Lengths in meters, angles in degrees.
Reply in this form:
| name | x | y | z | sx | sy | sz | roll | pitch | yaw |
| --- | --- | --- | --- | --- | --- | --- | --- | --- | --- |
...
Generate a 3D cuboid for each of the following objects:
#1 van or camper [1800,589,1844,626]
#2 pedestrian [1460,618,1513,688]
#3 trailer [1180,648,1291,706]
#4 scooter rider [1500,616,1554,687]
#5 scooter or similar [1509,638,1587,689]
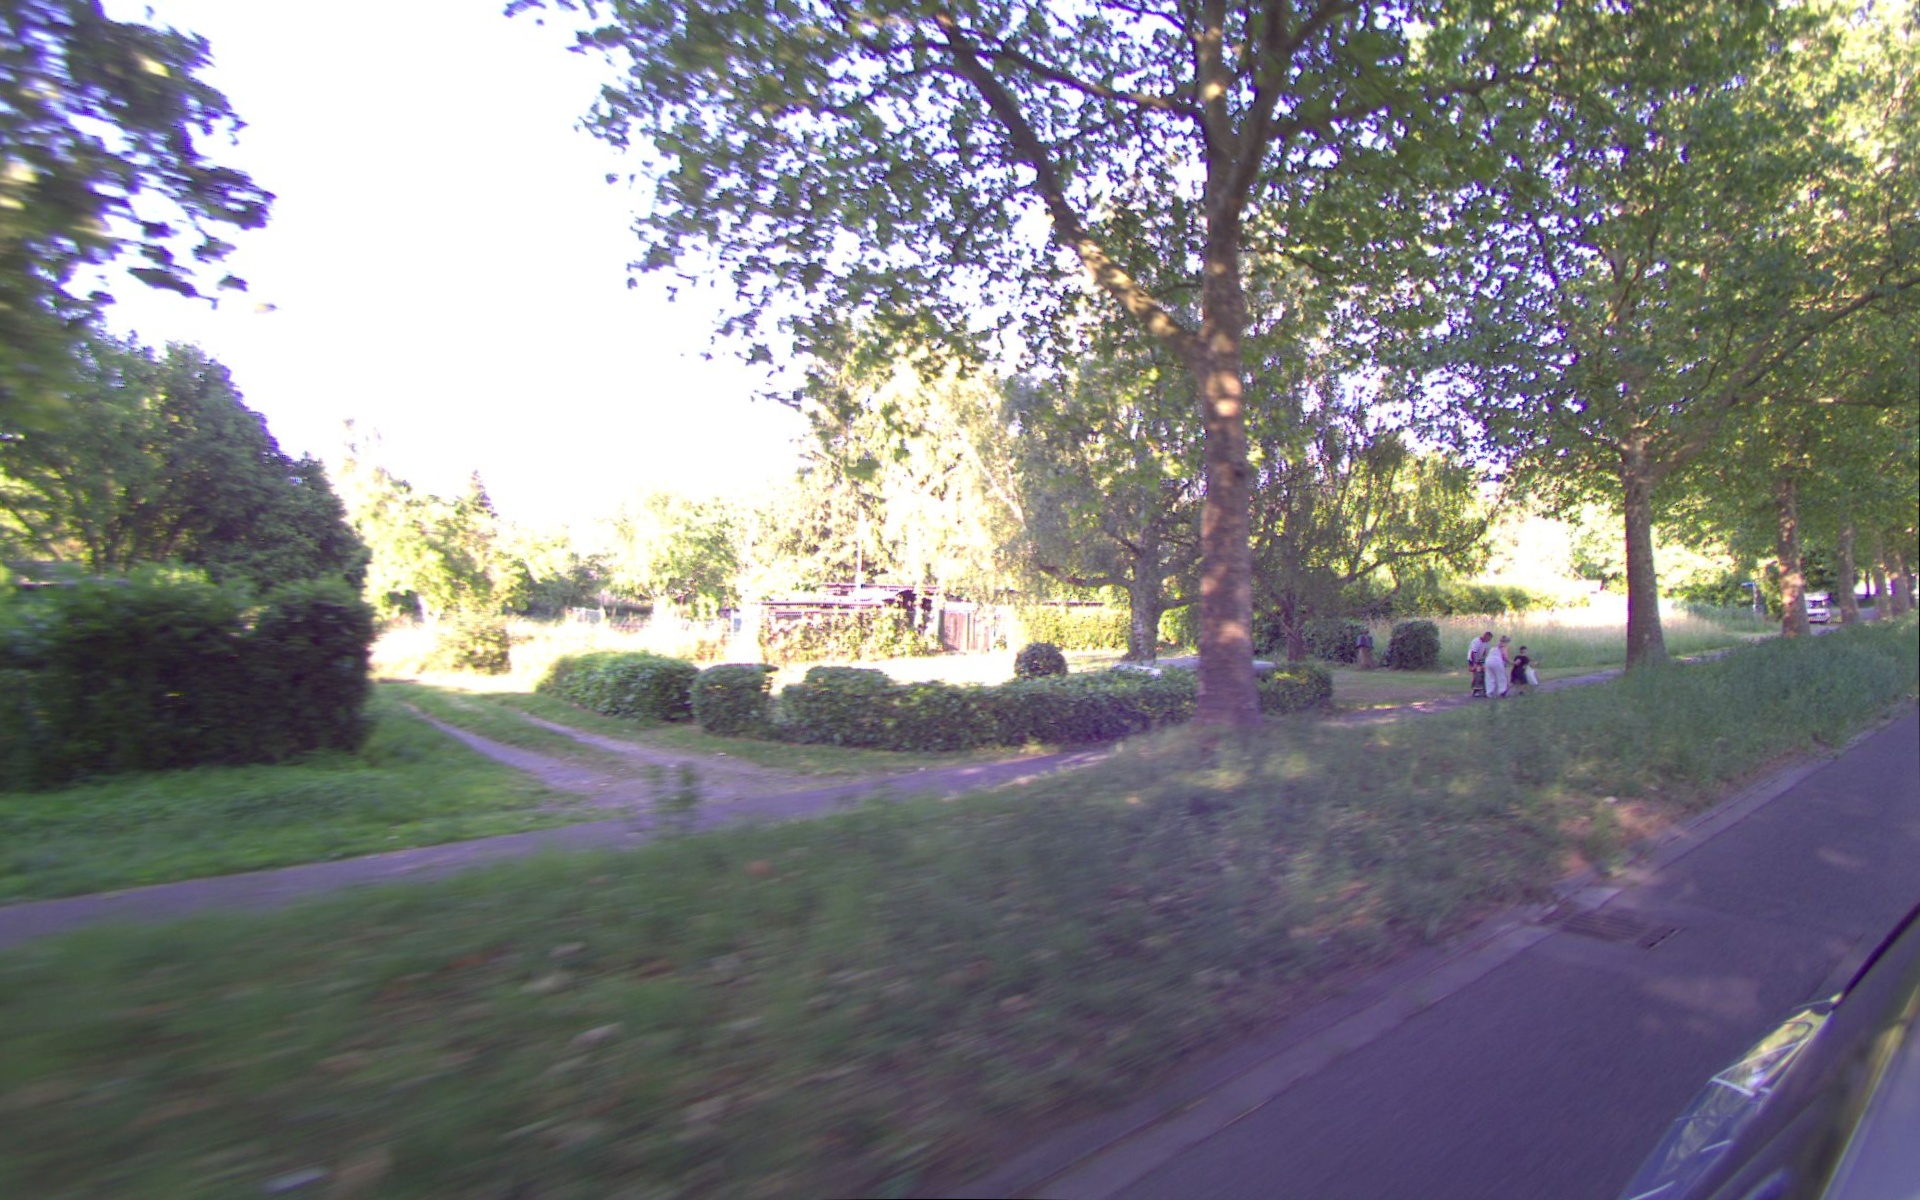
| name | x | y | z | sx | sy | sz | roll | pitch | yaw |
| --- | --- | --- | --- | --- | --- | --- | --- | --- | --- |
| van or camper | 71.530 | 0.575 | 83.959 | 2.381 | 2.835 | 5.595 | 0 | 1 | 44 |
| pedestrian | 12.453 | 1.252 | 23.954 | 0.830 | 1.596 | 0.784 | -1 | 0 | 4 |
| trailer | 6.102 | 1.680 | 22.529 | 1.178 | 1.065 | 2.123 | -1 | 1 | -37 |
| scooter rider | 13.339 | 1.203 | 23.840 | 0.829 | 1.596 | 0.784 | -1 | 0 | 3 |
| scooter or similar | 13.712 | 1.470 | 23.608 | 1.571 | 1.149 | 0.340 | -1 | 0 | 5 |
